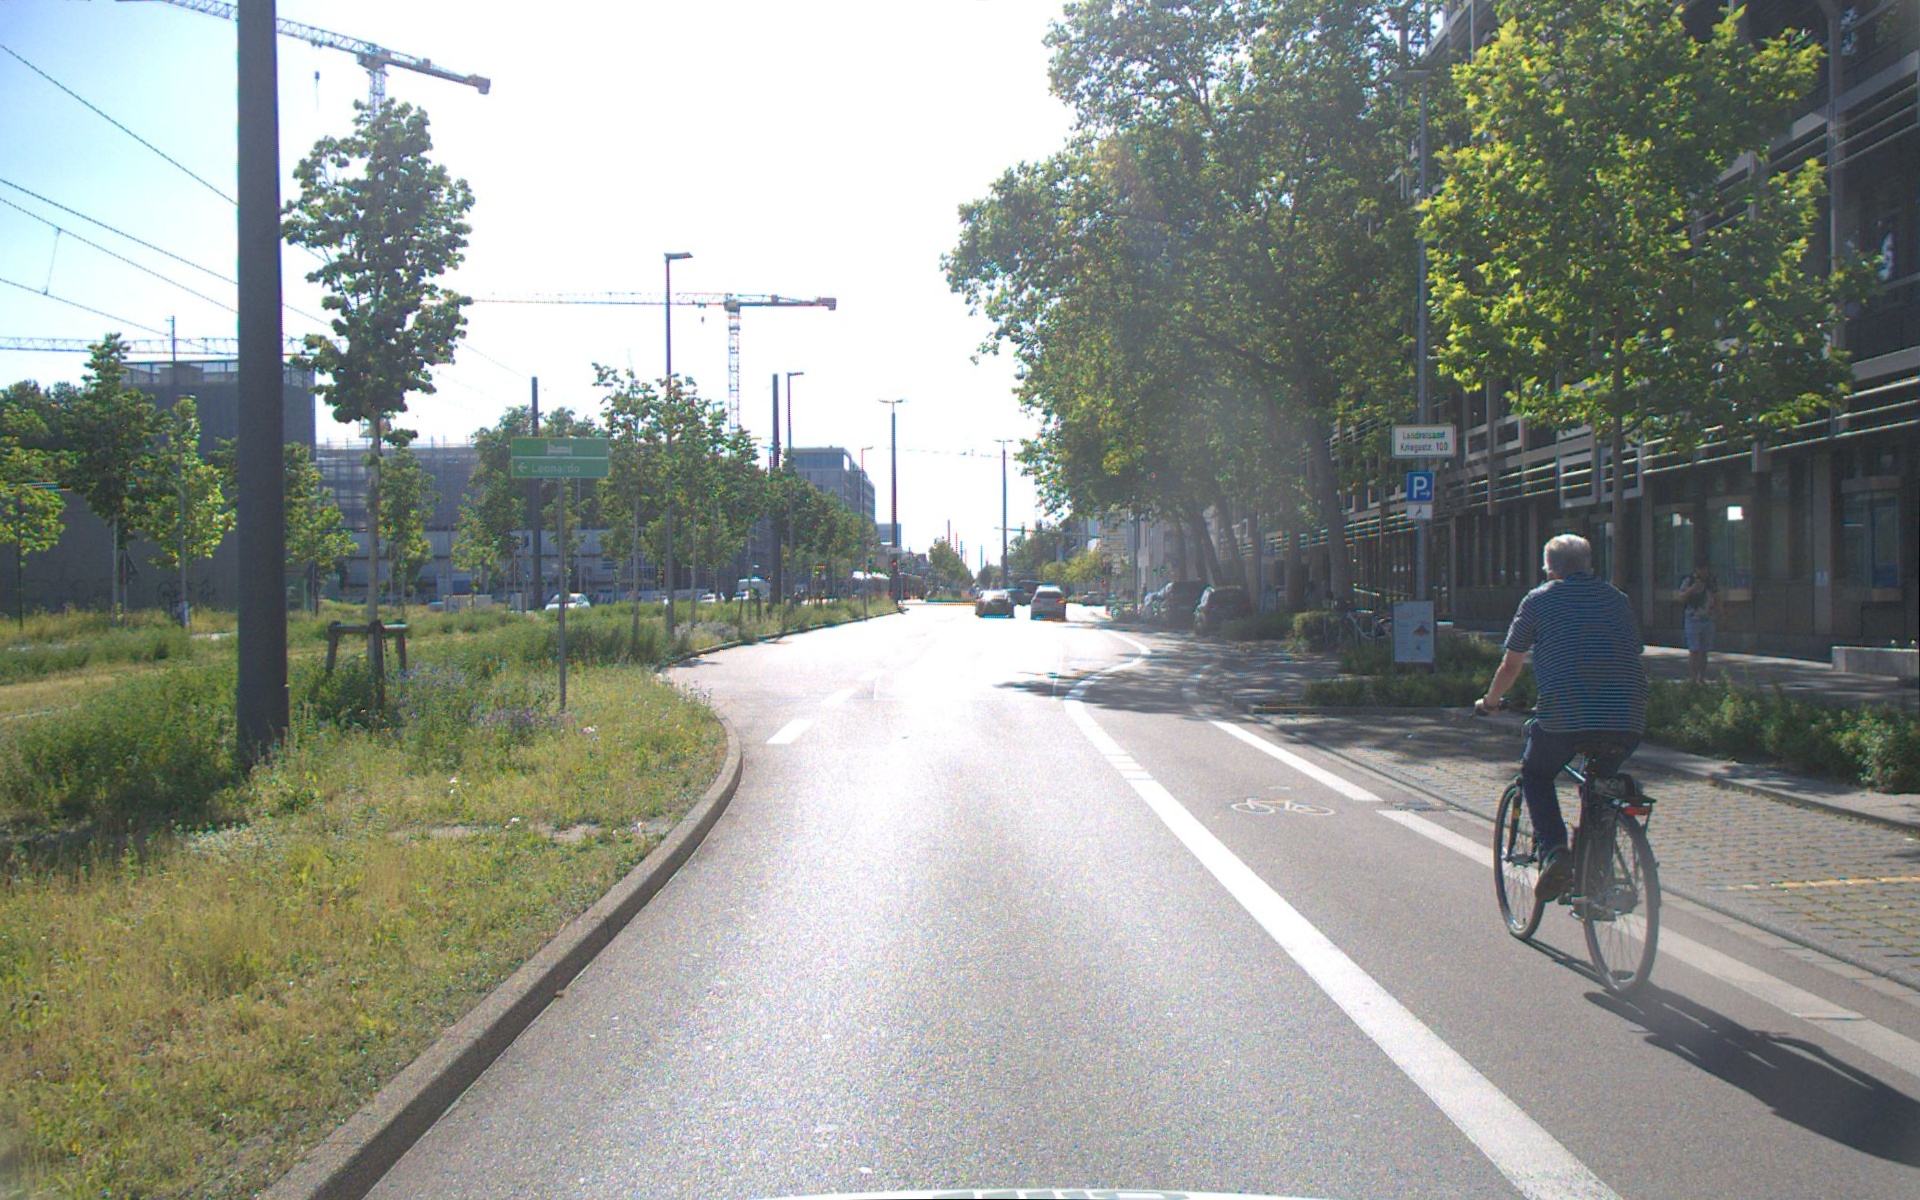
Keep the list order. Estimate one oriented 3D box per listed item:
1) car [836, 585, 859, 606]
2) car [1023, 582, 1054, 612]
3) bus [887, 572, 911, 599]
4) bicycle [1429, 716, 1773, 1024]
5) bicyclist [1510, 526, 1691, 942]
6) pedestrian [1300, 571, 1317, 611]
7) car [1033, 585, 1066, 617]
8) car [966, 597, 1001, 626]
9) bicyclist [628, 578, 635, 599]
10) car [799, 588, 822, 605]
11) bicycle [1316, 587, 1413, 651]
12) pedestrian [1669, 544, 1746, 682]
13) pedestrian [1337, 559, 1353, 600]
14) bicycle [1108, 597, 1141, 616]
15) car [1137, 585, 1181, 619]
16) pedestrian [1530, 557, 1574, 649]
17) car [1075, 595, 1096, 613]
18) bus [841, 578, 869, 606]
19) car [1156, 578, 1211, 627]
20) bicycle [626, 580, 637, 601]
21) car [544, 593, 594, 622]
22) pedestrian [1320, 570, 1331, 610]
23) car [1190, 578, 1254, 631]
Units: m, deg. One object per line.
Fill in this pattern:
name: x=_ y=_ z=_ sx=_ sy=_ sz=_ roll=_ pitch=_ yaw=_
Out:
car: x=-10.291 y=-0.363 z=151.033 sx=1.858 sy=1.847 sz=3.999 roll=1 pitch=0 yaw=-1
car: x=4.760 y=-0.207 z=100.911 sx=1.686 sy=1.814 sz=4.186 roll=0 pitch=1 yaw=0
bus: x=-7.362 y=-1.677 z=199.530 sx=2.574 sy=3.011 sz=9.897 roll=1 pitch=0 yaw=-1
bicycle: x=2.583 y=1.033 z=6.953 sx=0.487 sy=0.921 sz=2.195 roll=1 pitch=0 yaw=-3
bicyclist: x=2.607 y=0.523 z=6.767 sx=0.502 sy=1.629 sz=0.536 roll=-1 pitch=0 yaw=-3
pedestrian: x=14.220 y=-0.369 z=67.491 sx=0.496 sy=1.612 sz=0.634 roll=0 pitch=0 yaw=-7
car: x=4.737 y=0.020 z=87.311 sx=1.685 sy=1.646 sz=4.188 roll=0 pitch=1 yaw=3
car: x=1.323 y=0.597 z=90.888 sx=1.872 sy=1.512 sz=4.010 roll=0 pitch=1 yaw=1
bicyclist: x=-22.950 y=-0.823 z=115.593 sx=0.386 sy=1.480 sz=0.539 roll=1 pitch=0 yaw=1
car: x=-11.080 y=-0.246 z=122.588 sx=1.348 sy=1.199 sz=3.221 roll=1 pitch=0 yaw=1
bicycle: x=8.813 y=0.405 z=36.059 sx=1.898 sy=1.258 sz=0.579 roll=-4 pitch=0 yaw=-1
pedestrian: x=9.660 y=0.162 z=21.401 sx=0.634 sy=1.758 sz=0.803 roll=0 pitch=0 yaw=1
pedestrian: x=15.703 y=-0.834 z=67.505 sx=0.542 sy=1.631 sz=0.573 roll=0 pitch=0 yaw=2
bicycle: x=8.623 y=0.343 z=86.843 sx=1.659 sy=0.974 sz=0.478 roll=-2 pitch=0 yaw=-3
car: x=9.397 y=0.082 z=78.435 sx=1.668 sy=1.519 sz=4.602 roll=0 pitch=1 yaw=2
pedestrian: x=11.413 y=0.060 z=31.894 sx=0.500 sy=1.730 sz=0.774 roll=-3 pitch=0 yaw=1
car: x=11.676 y=0.388 z=154.227 sx=1.628 sy=1.678 sz=3.700 roll=1 pitch=0 yaw=0
bus: x=-11.545 y=-0.841 z=182.434 sx=2.574 sy=2.832 sz=8.842 roll=1 pitch=0 yaw=-1
car: x=8.874 y=0.070 z=65.890 sx=1.669 sy=1.821 sz=4.193 roll=-3 pitch=0 yaw=2
bicycle: x=-22.950 y=-0.688 z=115.628 sx=0.353 sy=1.481 sz=1.914 roll=0 pitch=1 yaw=2
car: x=-19.702 y=0.356 z=83.462 sx=1.599 sy=1.422 sz=3.833 roll=0 pitch=0 yaw=0
pedestrian: x=14.923 y=-0.409 z=67.539 sx=0.309 sy=1.612 sz=0.501 roll=0 pitch=0 yaw=-7
car: x=8.593 y=0.120 z=54.555 sx=1.668 sy=1.672 sz=4.638 roll=0 pitch=1 yaw=4
